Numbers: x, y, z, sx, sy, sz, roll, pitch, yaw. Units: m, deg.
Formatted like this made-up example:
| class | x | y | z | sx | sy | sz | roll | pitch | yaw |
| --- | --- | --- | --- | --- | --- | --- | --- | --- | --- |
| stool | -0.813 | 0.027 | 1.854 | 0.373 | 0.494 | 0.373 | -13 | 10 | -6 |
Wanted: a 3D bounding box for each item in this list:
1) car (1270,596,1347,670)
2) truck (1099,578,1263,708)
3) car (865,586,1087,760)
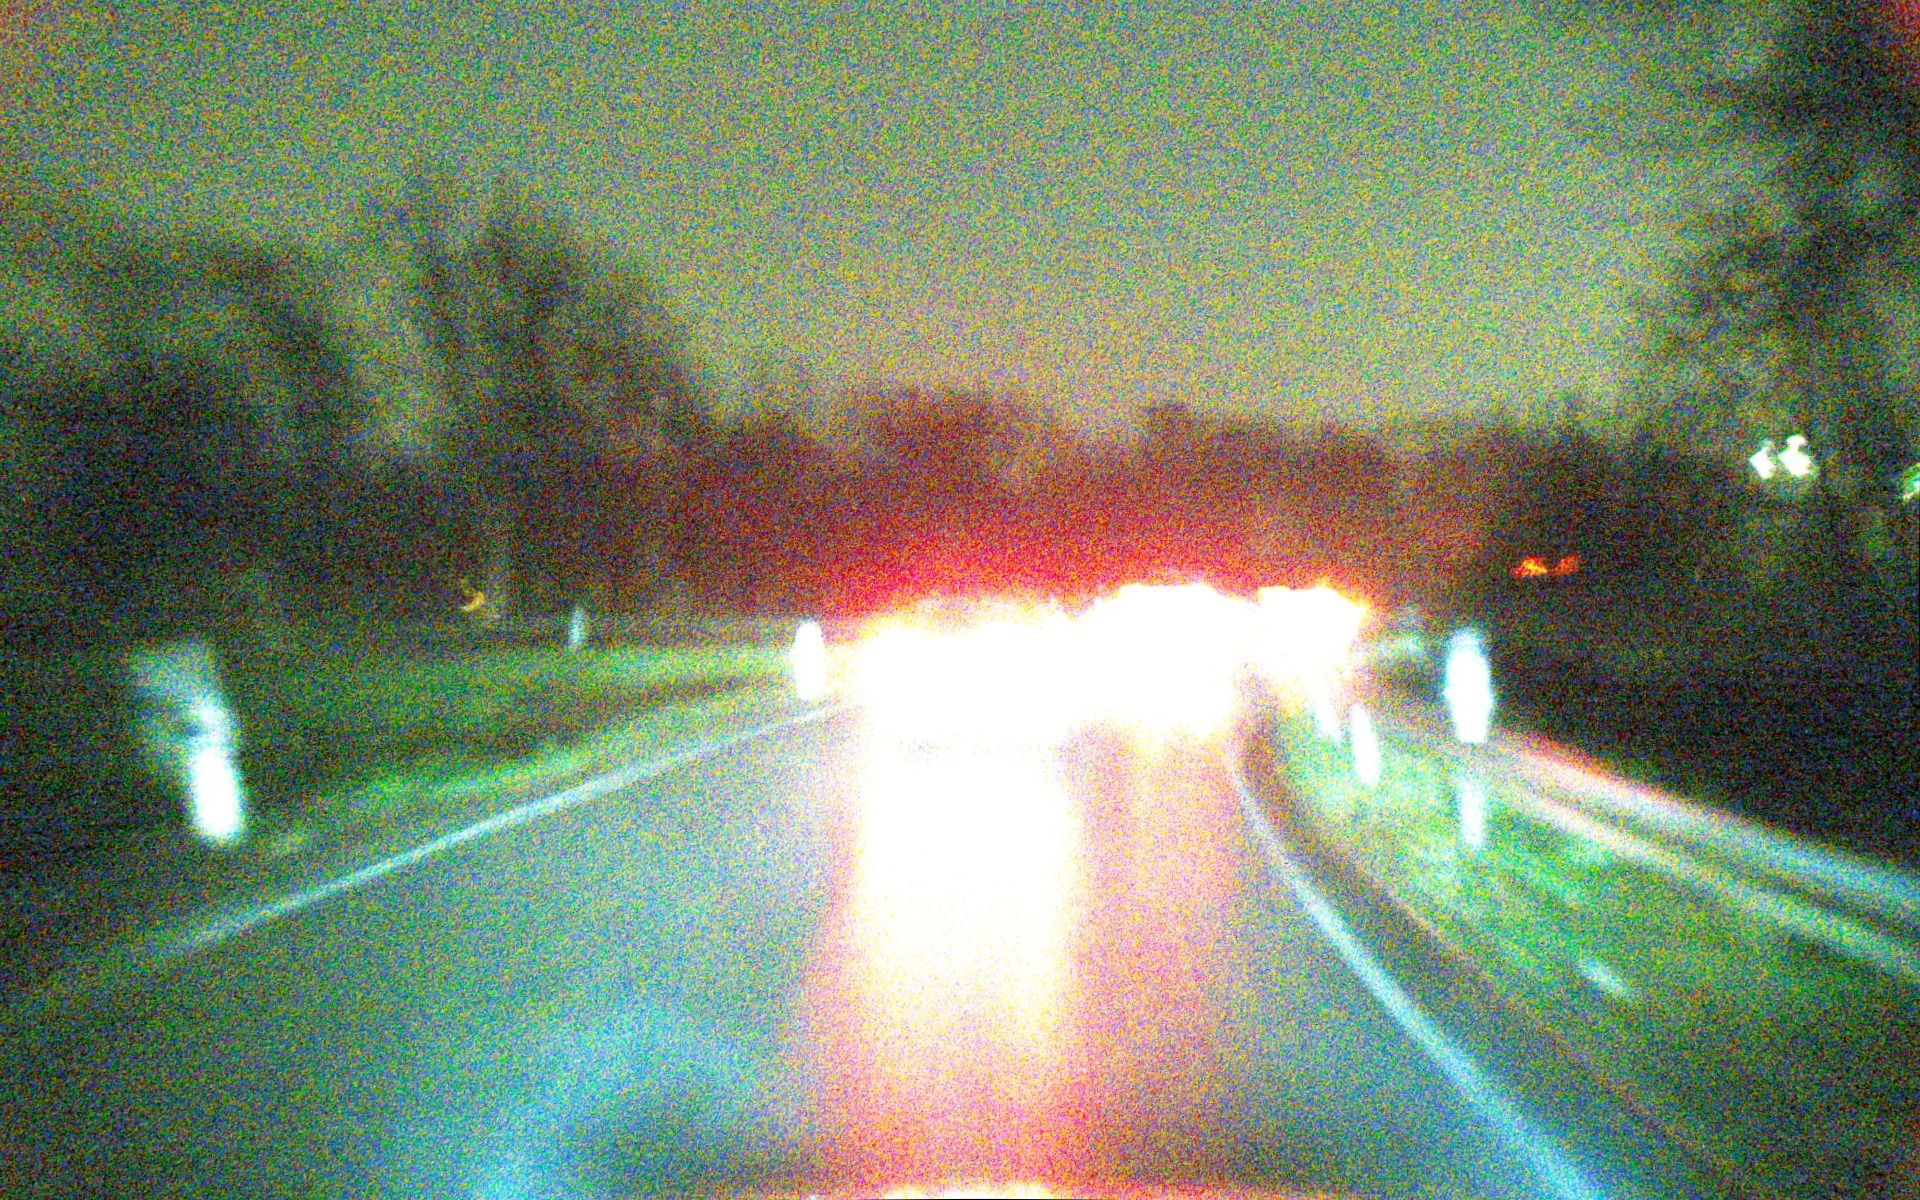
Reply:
| class | x | y | z | sx | sy | sz | roll | pitch | yaw |
| --- | --- | --- | --- | --- | --- | --- | --- | --- | --- |
| car | 9.854 | 0.901 | 46.563 | 1.797 | 1.982 | 4.002 | 1 | 0 | 16 |
| truck | 5.125 | 0.893 | 37.139 | 3.004 | 2.573 | 7.172 | 1 | 0 | 13 |
| car | 0.275 | 0.663 | 16.413 | 1.903 | 1.517 | 3.718 | -1 | -1 | 5 |
